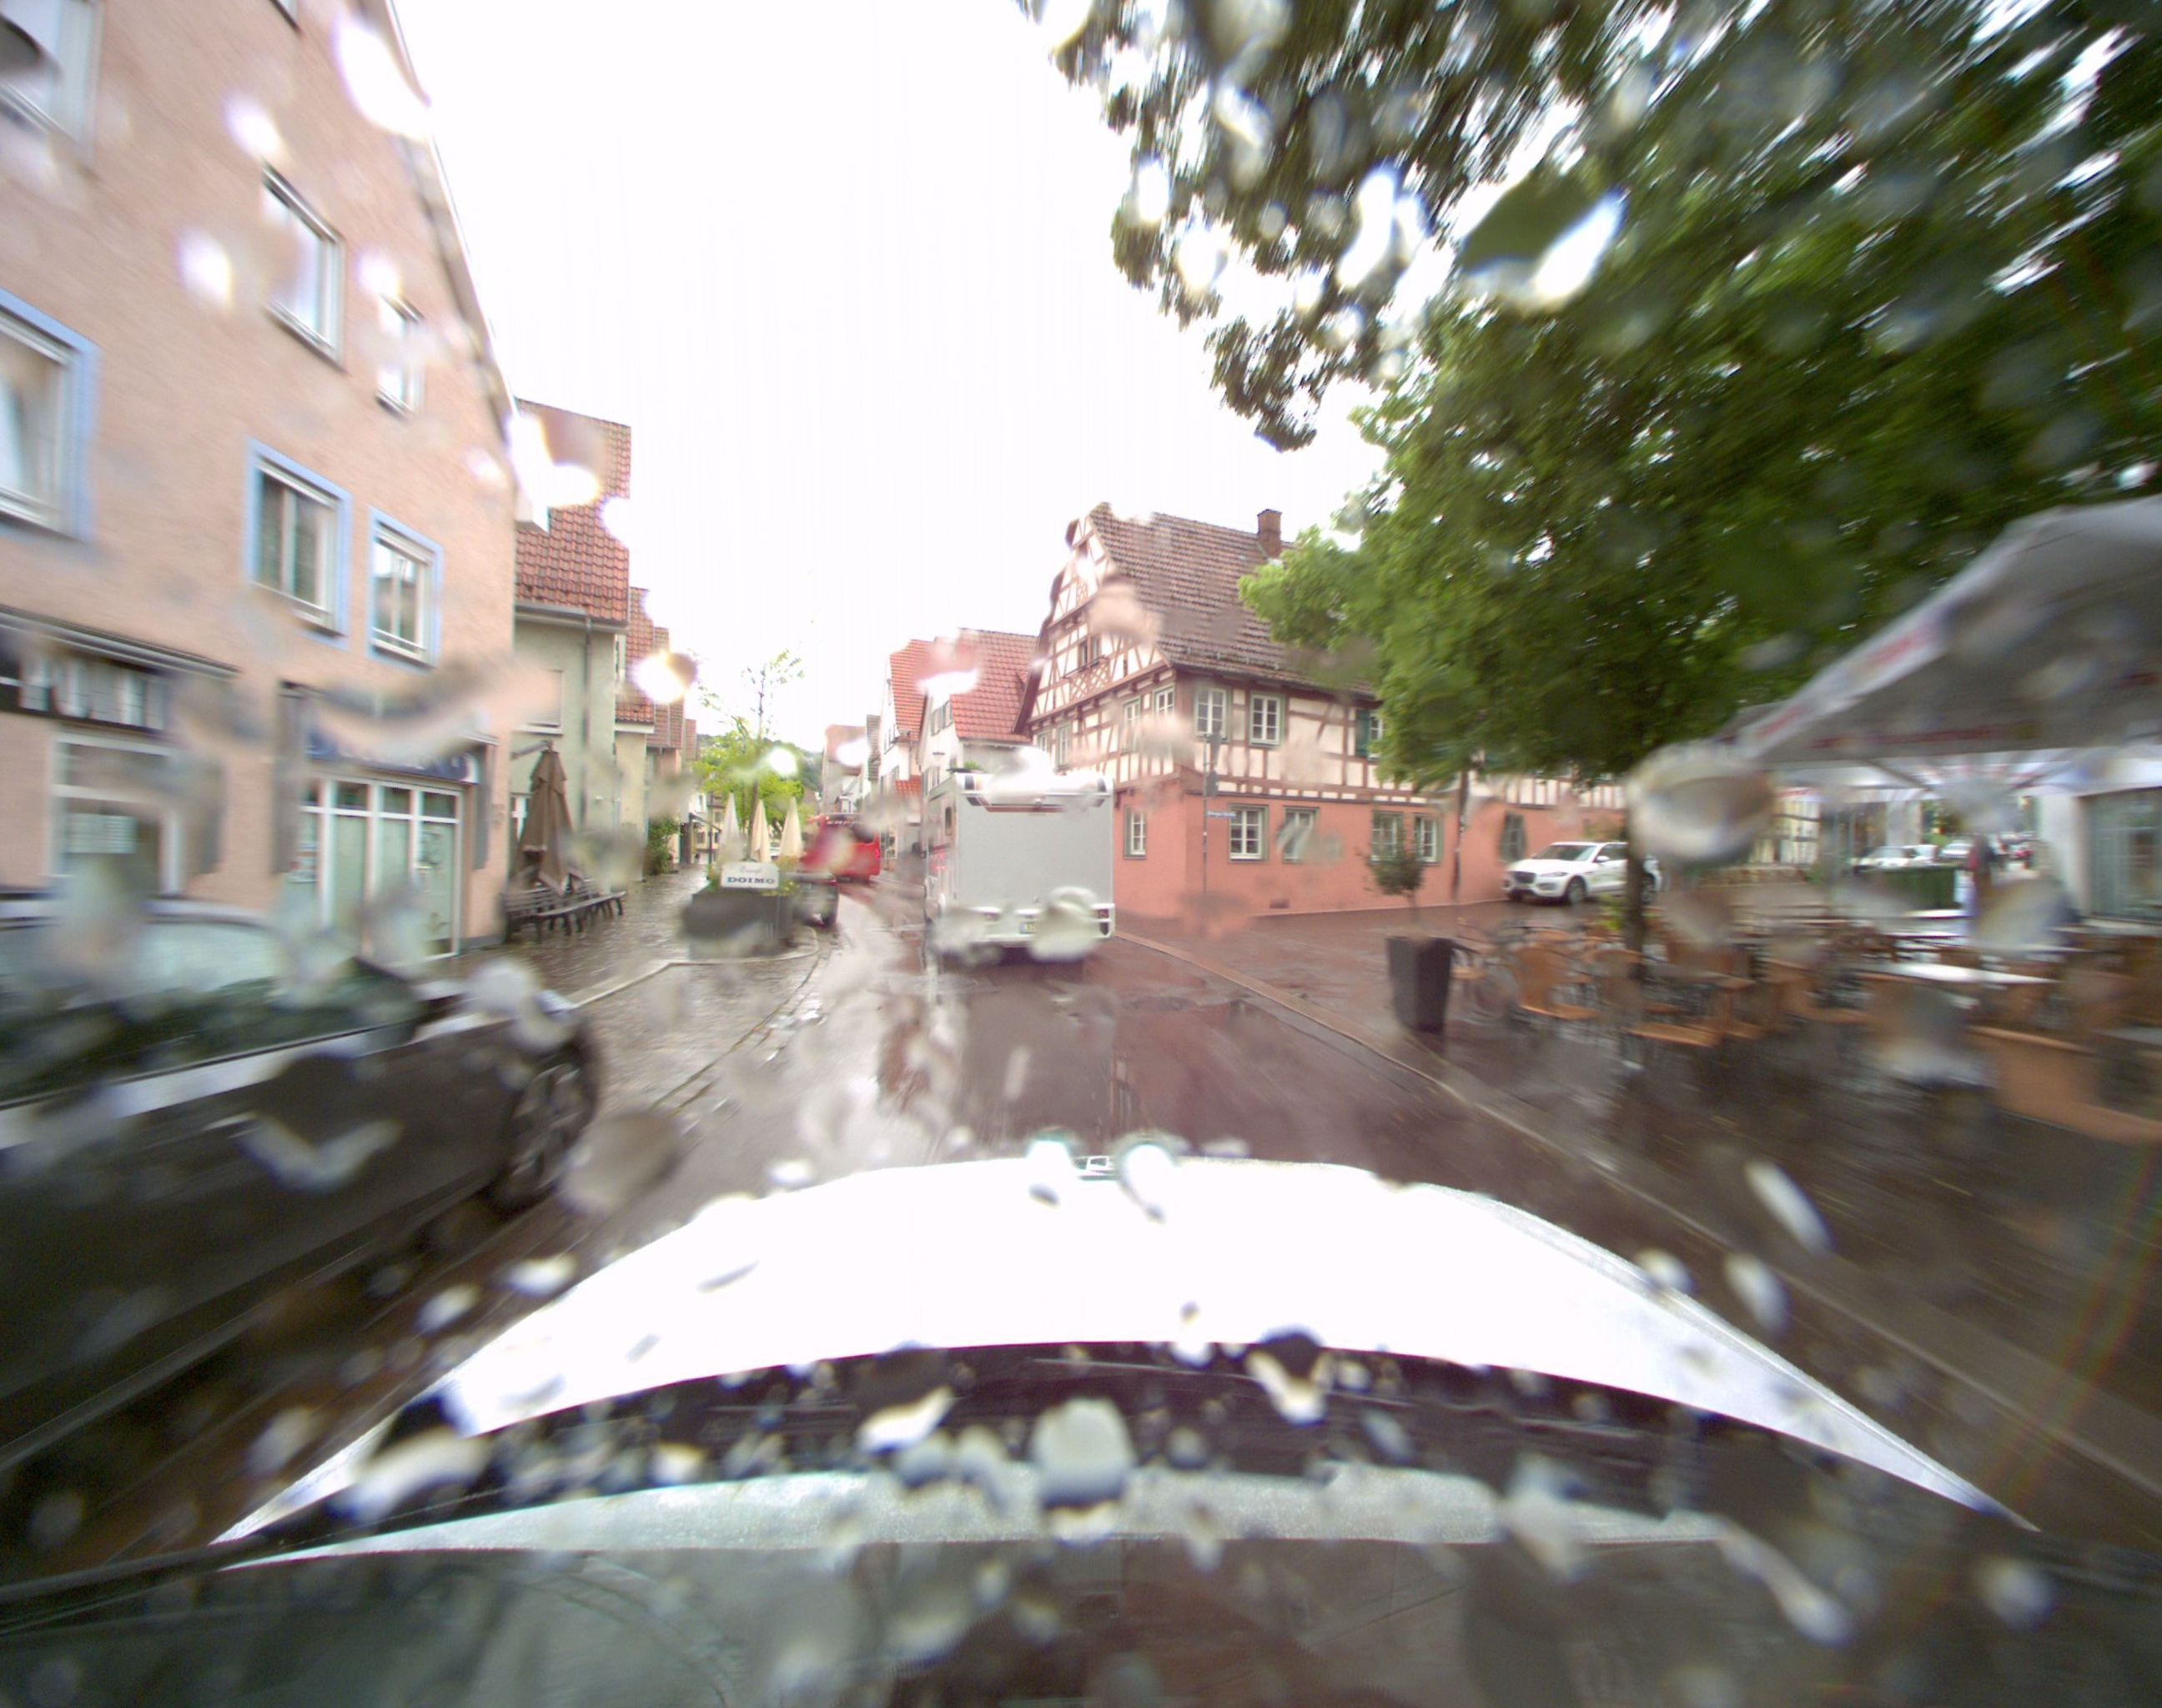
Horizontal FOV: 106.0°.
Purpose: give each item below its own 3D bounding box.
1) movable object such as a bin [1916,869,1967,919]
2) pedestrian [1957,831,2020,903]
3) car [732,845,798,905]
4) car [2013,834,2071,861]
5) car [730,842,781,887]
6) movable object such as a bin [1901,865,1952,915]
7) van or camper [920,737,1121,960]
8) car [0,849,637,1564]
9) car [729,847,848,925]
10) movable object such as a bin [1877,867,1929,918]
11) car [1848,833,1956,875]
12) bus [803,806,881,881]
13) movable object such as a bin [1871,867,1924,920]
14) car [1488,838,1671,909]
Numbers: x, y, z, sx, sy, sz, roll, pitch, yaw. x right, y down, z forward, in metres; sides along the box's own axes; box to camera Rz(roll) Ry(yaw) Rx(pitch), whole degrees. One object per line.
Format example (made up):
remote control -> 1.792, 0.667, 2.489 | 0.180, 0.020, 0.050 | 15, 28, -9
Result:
movable object such as a bin -> 19.506, 0.887, 18.462 | 0.657, 1.093, 0.601 | 0, -1, -24
pedestrian -> 19.730, 0.289, 17.704 | 0.844, 1.518, 0.753 | 0, -1, -31
car -> -9.003, 0.568, 23.211 | 1.599, 1.546, 3.948 | 0, -1, -22
car -> 54.065, -0.346, 45.814 | 4.045, 1.442, 1.977 | 0, -1, -38
car -> -13.339, 0.452, 33.479 | 1.778, 1.675, 4.447 | 2, -1, -22
movable object such as a bin -> 18.843, 0.788, 18.153 | 0.657, 1.093, 0.601 | 0, -1, -24
van or camper -> -1.389, -0.026, 14.050 | 2.330, 2.919, 6.359 | 0, -1, -15
car -> -3.226, 0.726, 2.092 | 1.990, 1.454, 4.367 | 0, -1, -4
car -> -6.531, 0.626, 17.846 | 1.811, 1.432, 4.586 | 3, 0, -27
movable object such as a bin -> 17.945, 0.832, 17.780 | 0.657, 1.093, 0.601 | 0, -1, -24
car -> 32.248, 0.019, 31.979 | 4.011, 1.530, 1.981 | 0, -1, -30
bus -> -11.341, -0.401, 38.176 | 2.653, 3.227, 6.549 | 0, -1, -24
movable object such as a bin -> 17.375, 0.826, 17.332 | 0.657, 1.093, 0.601 | 0, -1, -24
car -> 12.989, 0.460, 21.210 | 4.474, 1.631, 1.929 | 0, 2, -26
